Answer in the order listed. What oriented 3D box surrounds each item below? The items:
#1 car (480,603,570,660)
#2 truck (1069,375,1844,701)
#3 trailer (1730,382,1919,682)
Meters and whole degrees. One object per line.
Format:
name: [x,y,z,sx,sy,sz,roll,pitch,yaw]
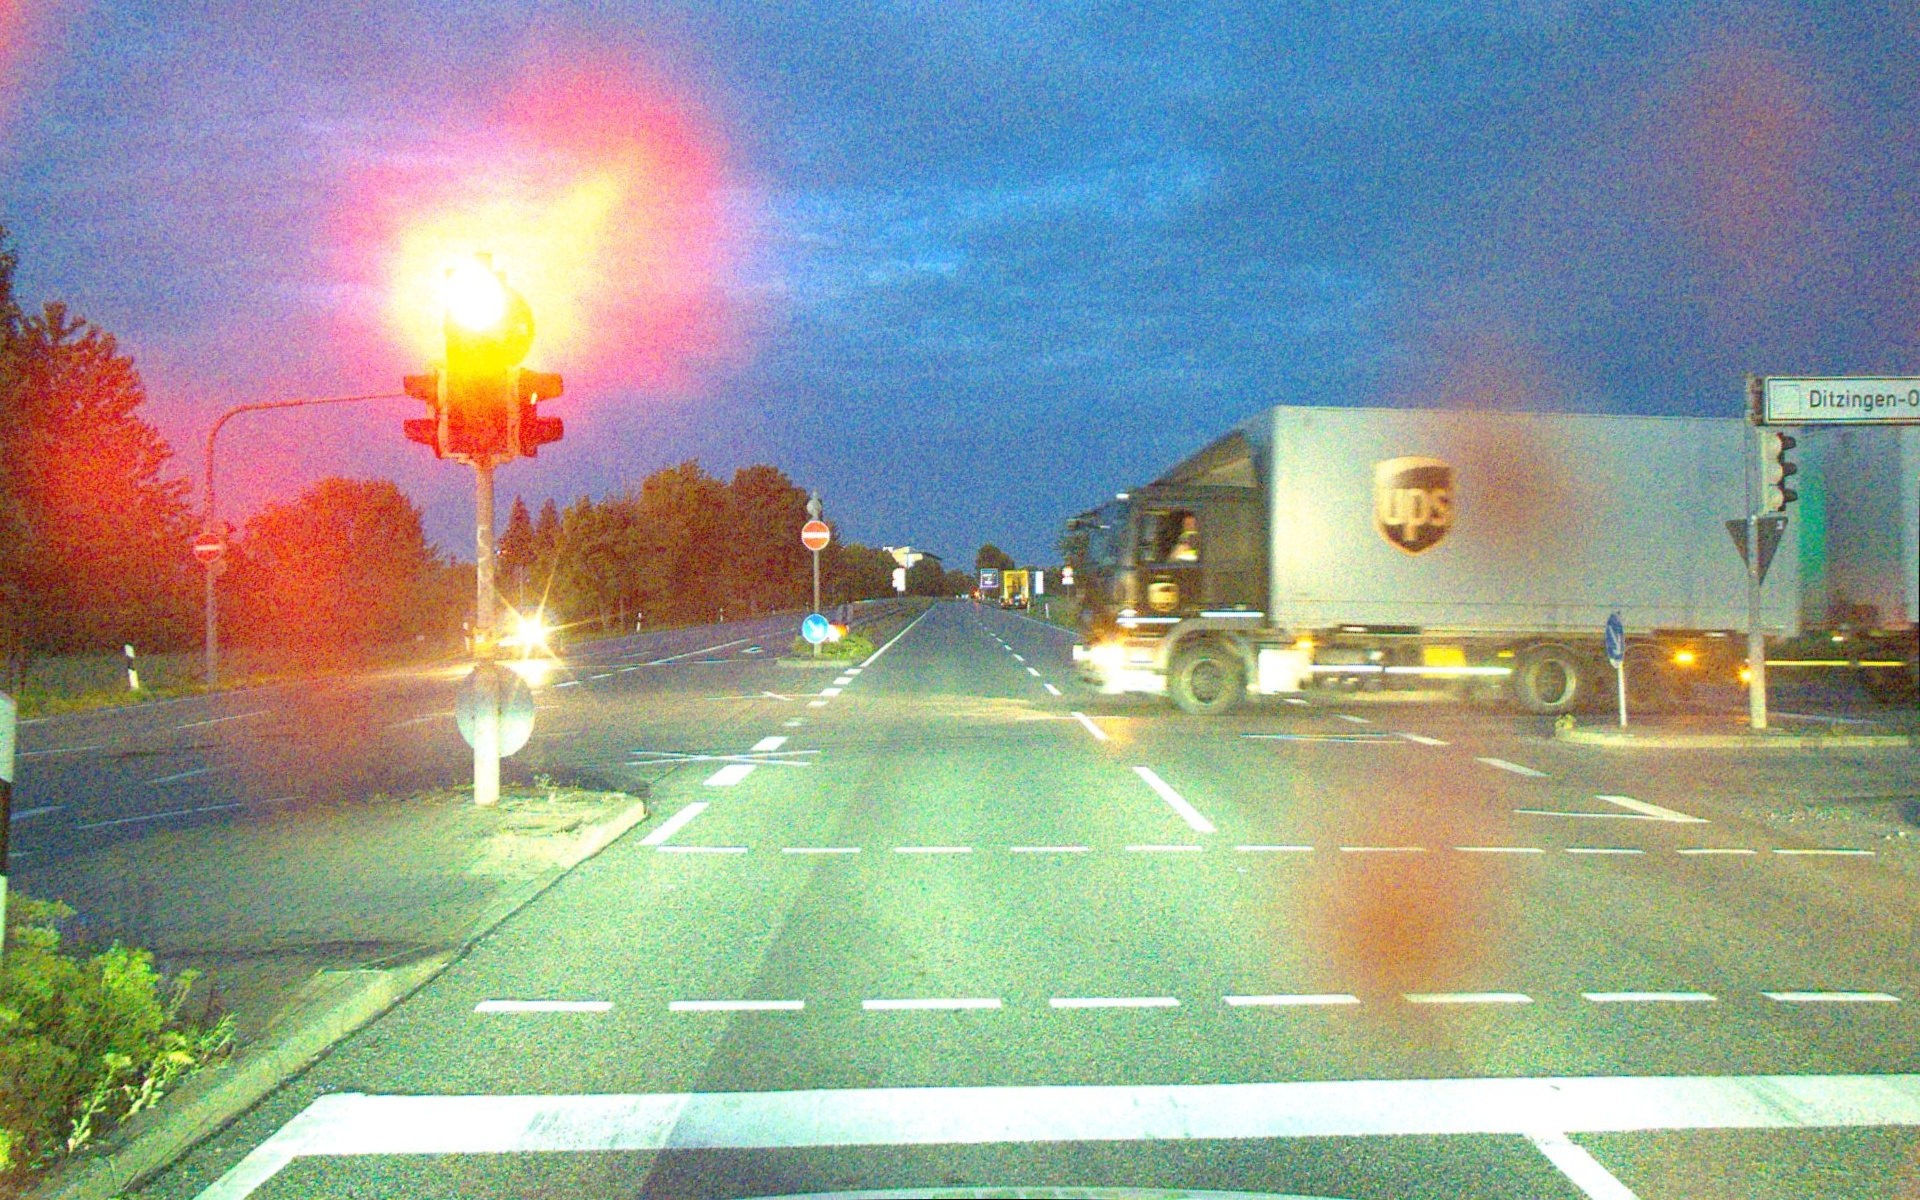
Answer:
car: [-12.597,0.880,48.064,1.596,1.400,3.589,-5,1,-1]
truck: [6.741,-0.814,23.144,10.112,4.189,2.731,0,0,-6]
trailer: [16.019,-1.040,23.924,8.676,4.012,2.582,-2,0,-6]
